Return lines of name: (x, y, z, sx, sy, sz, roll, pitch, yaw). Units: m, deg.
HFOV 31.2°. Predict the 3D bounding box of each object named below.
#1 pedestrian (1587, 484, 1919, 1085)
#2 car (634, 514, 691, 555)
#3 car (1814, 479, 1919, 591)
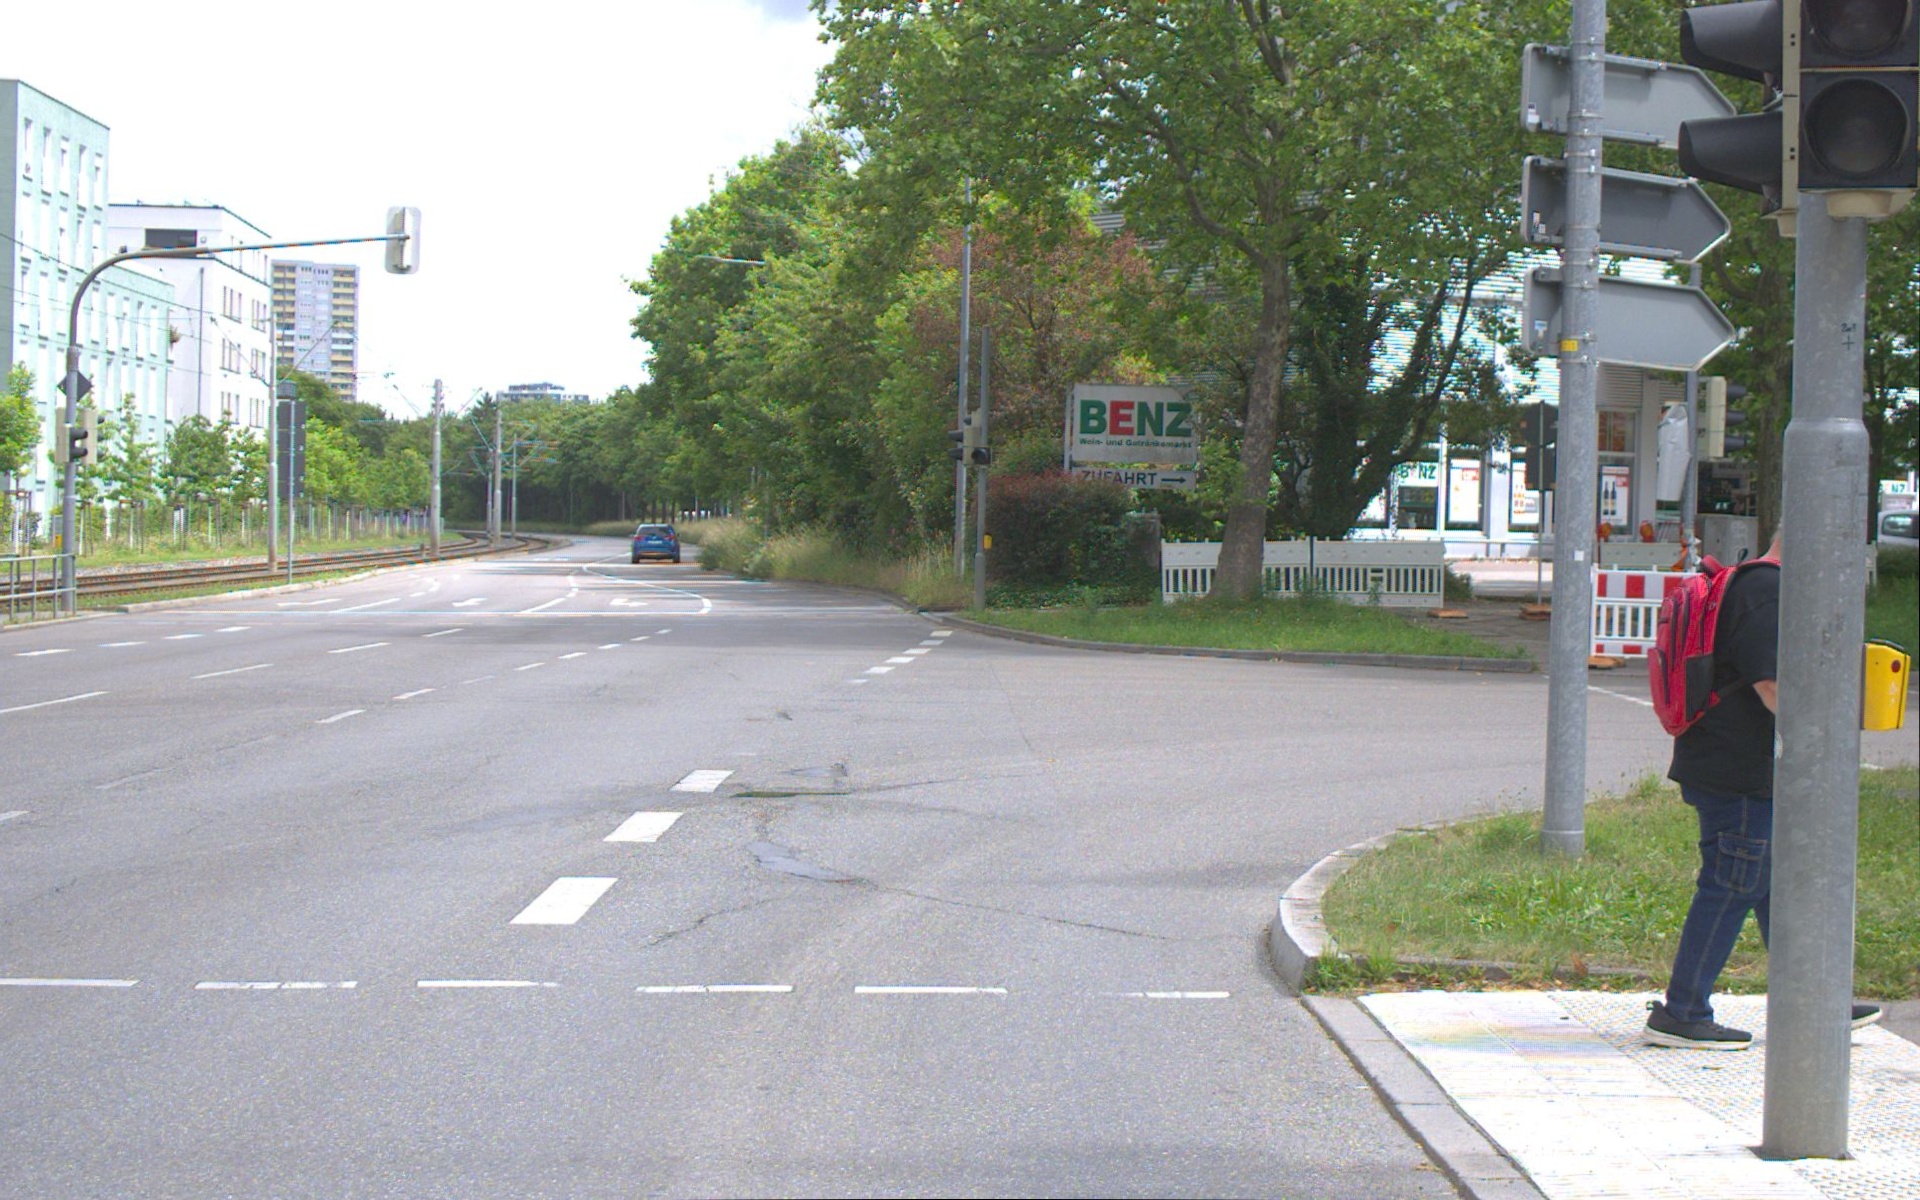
pedestrian: (2.286, 0.477, 9.684, 0.893, 1.591, 0.907, 1, 1, 18)
car: (-11.028, -2.432, 127.261, 1.982, 1.481, 4.492, 0, 1, -6)
car: (17.743, -1.178, 62.567, 1.993, 2.007, 4.000, 0, 2, -32)
